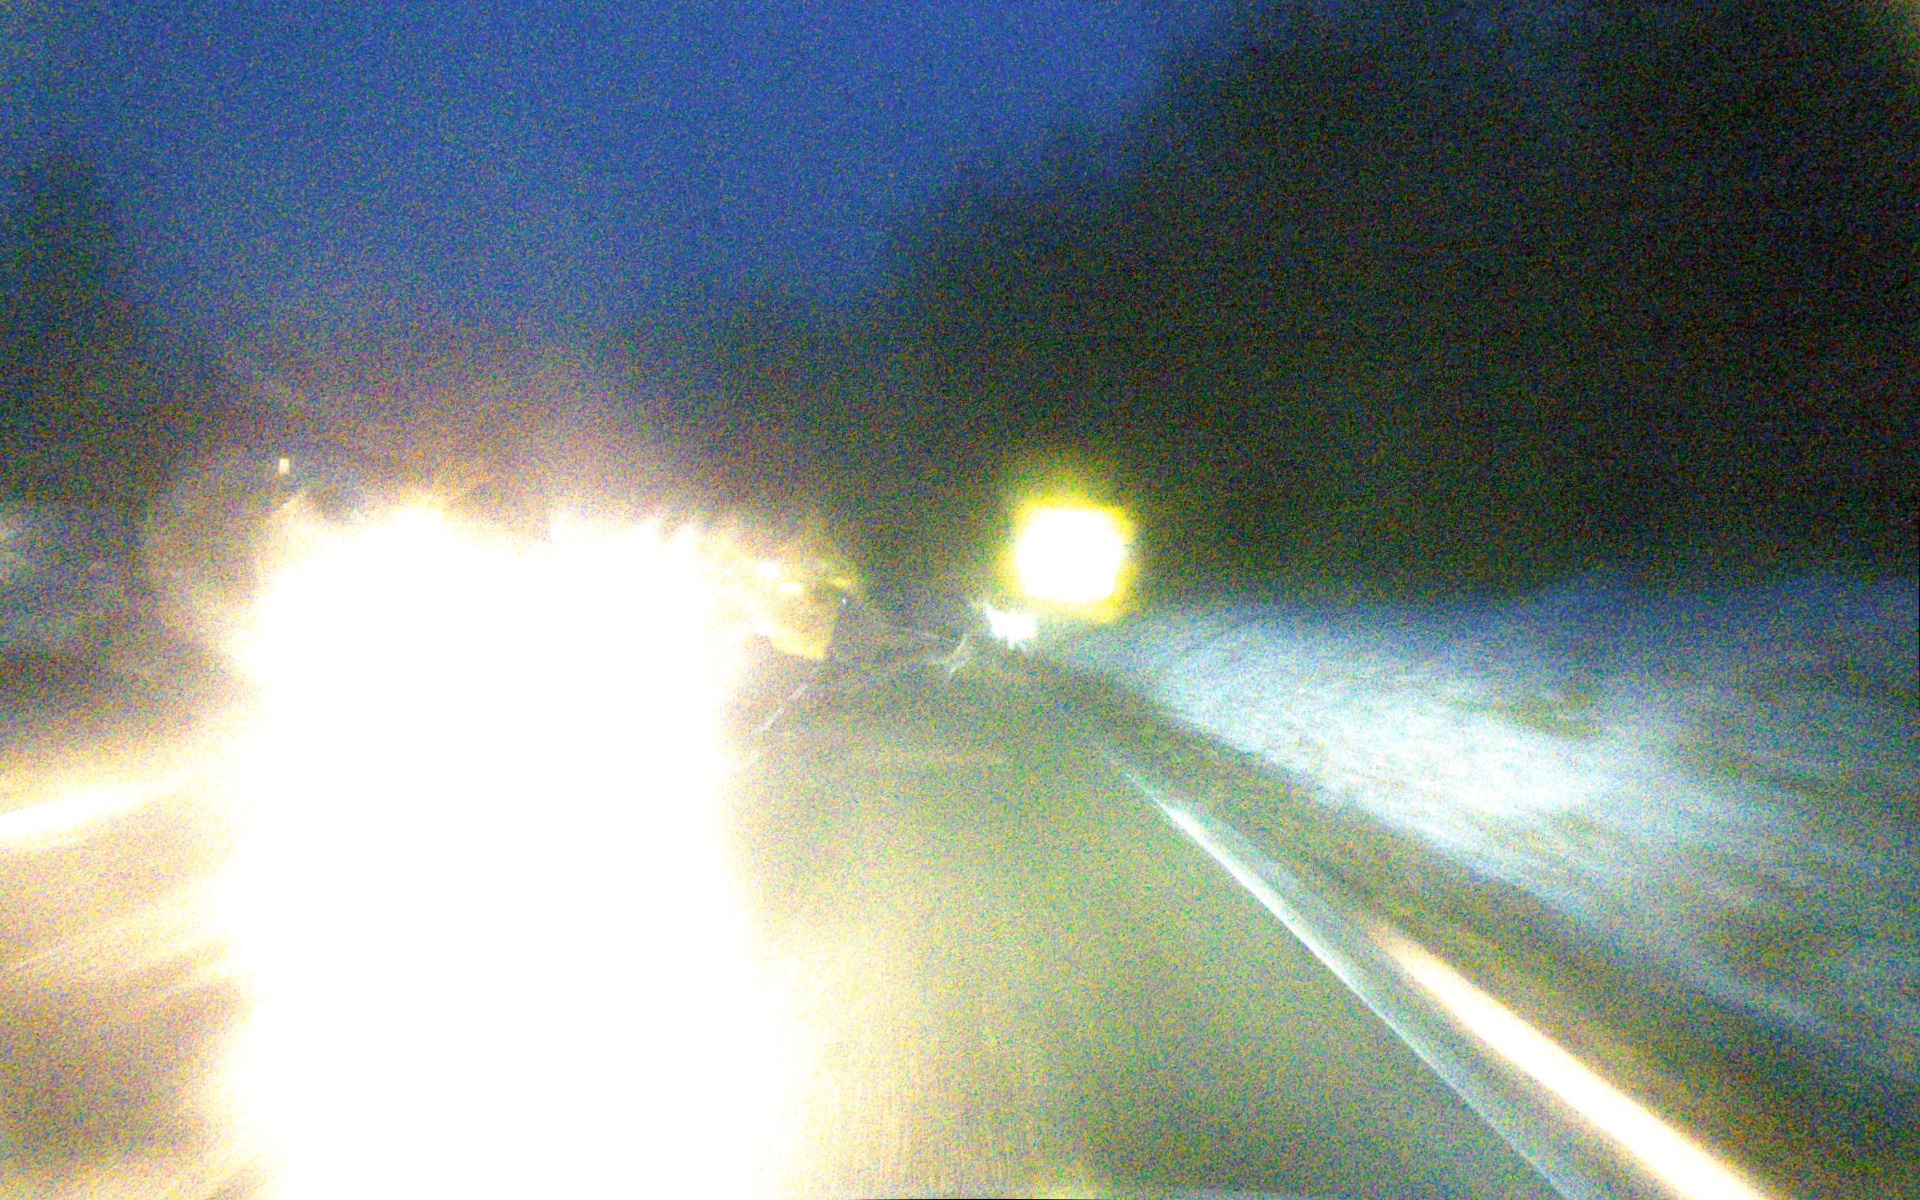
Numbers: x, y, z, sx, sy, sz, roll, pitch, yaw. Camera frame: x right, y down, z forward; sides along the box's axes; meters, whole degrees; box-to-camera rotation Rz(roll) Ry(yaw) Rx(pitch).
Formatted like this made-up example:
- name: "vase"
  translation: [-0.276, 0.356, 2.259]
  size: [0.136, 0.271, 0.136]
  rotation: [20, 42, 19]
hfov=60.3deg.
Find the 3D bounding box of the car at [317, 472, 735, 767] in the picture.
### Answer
- name: "car"
  translation: [-3.908, 0.195, 16.416]
  size: [2.697, 2.309, 6.258]
  rotation: [-1, -1, -2]
